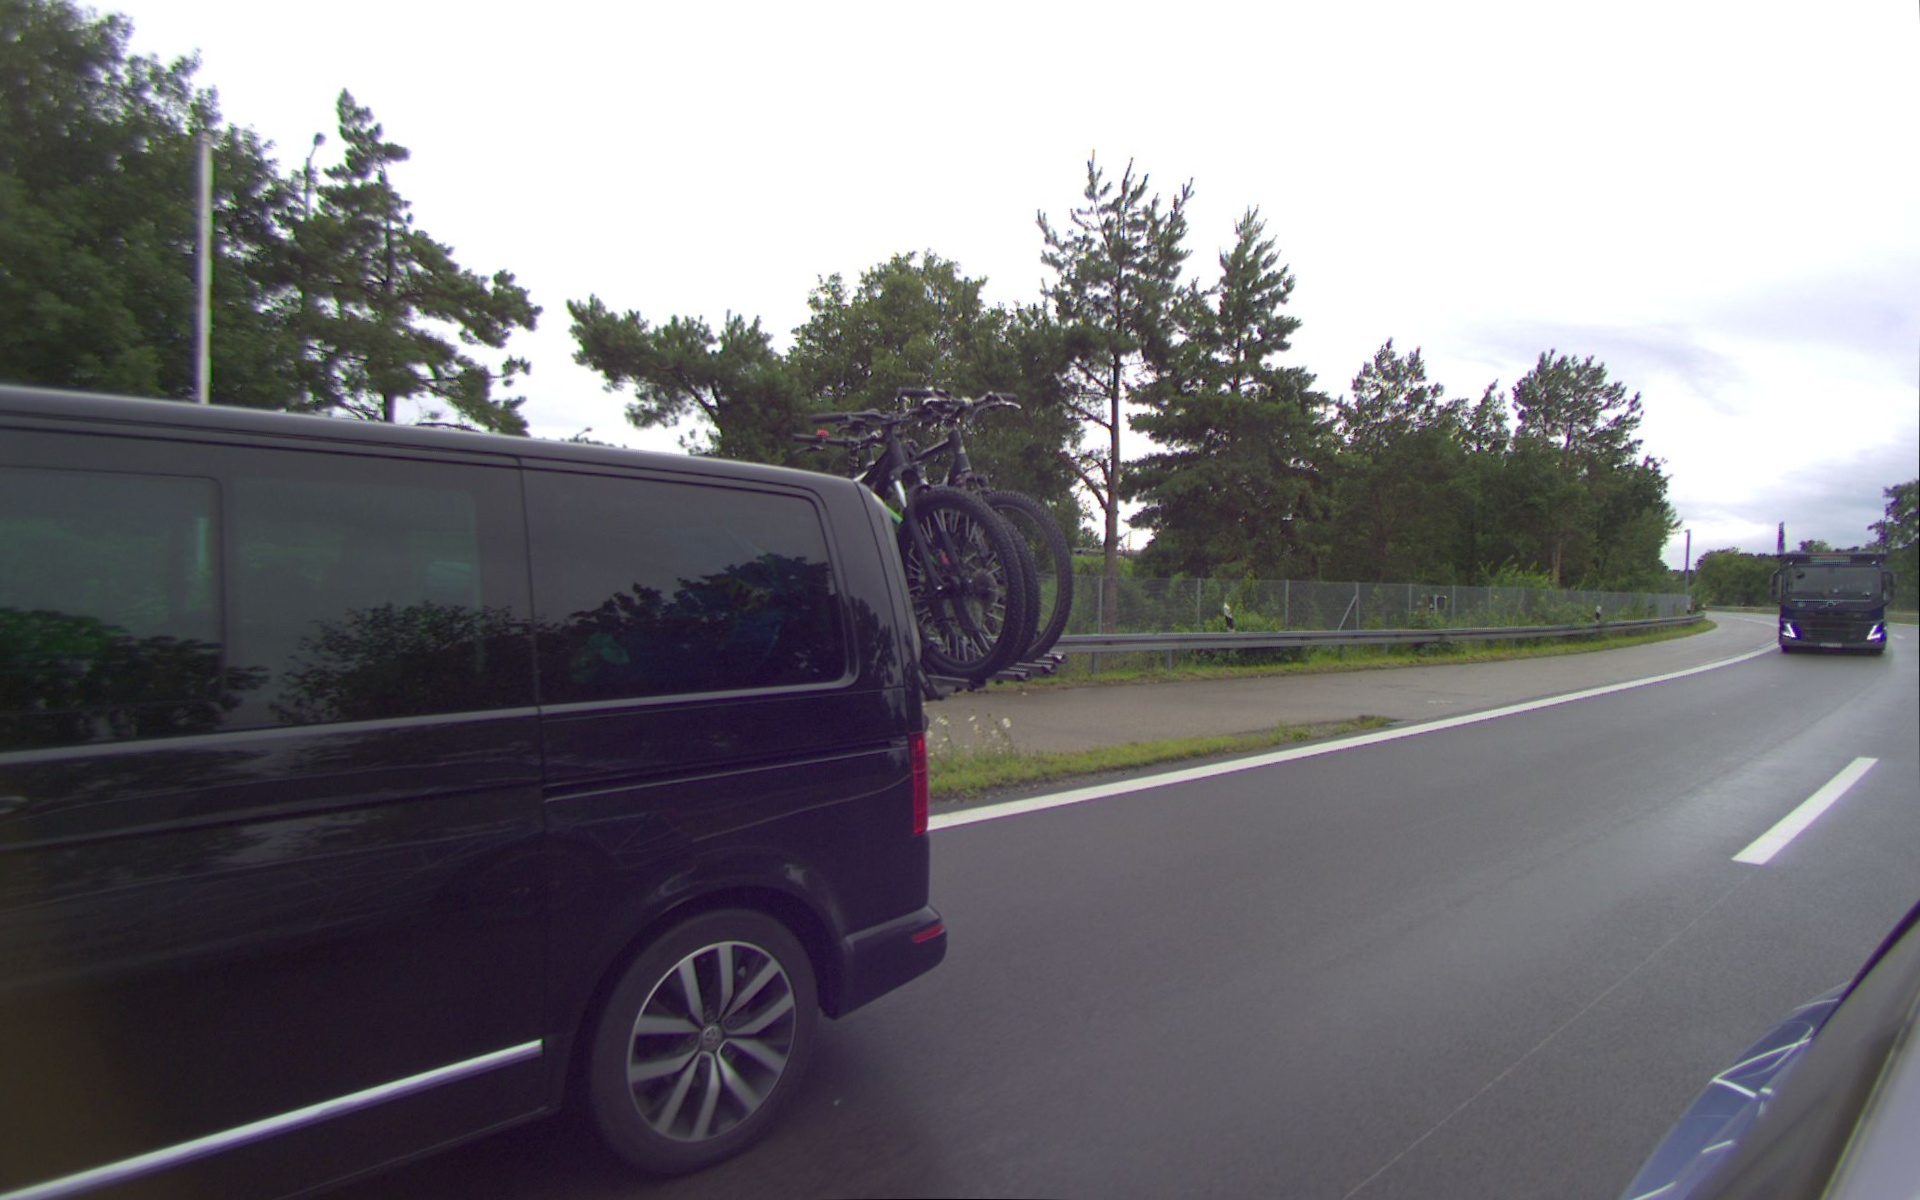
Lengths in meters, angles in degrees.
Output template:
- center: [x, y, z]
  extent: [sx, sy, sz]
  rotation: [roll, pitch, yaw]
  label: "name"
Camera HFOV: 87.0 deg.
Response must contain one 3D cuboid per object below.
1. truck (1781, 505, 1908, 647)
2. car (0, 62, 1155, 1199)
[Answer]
- center: [28.709, -0.673, 32.799]
  extent: [2.737, 4.018, 8.988]
  rotation: [-1, -1, 42]
  label: "truck"
- center: [-2.197, 0.257, 2.539]
  extent: [5.791, 2.293, 2.114]
  rotation: [0, -1, -40]
  label: "car"
